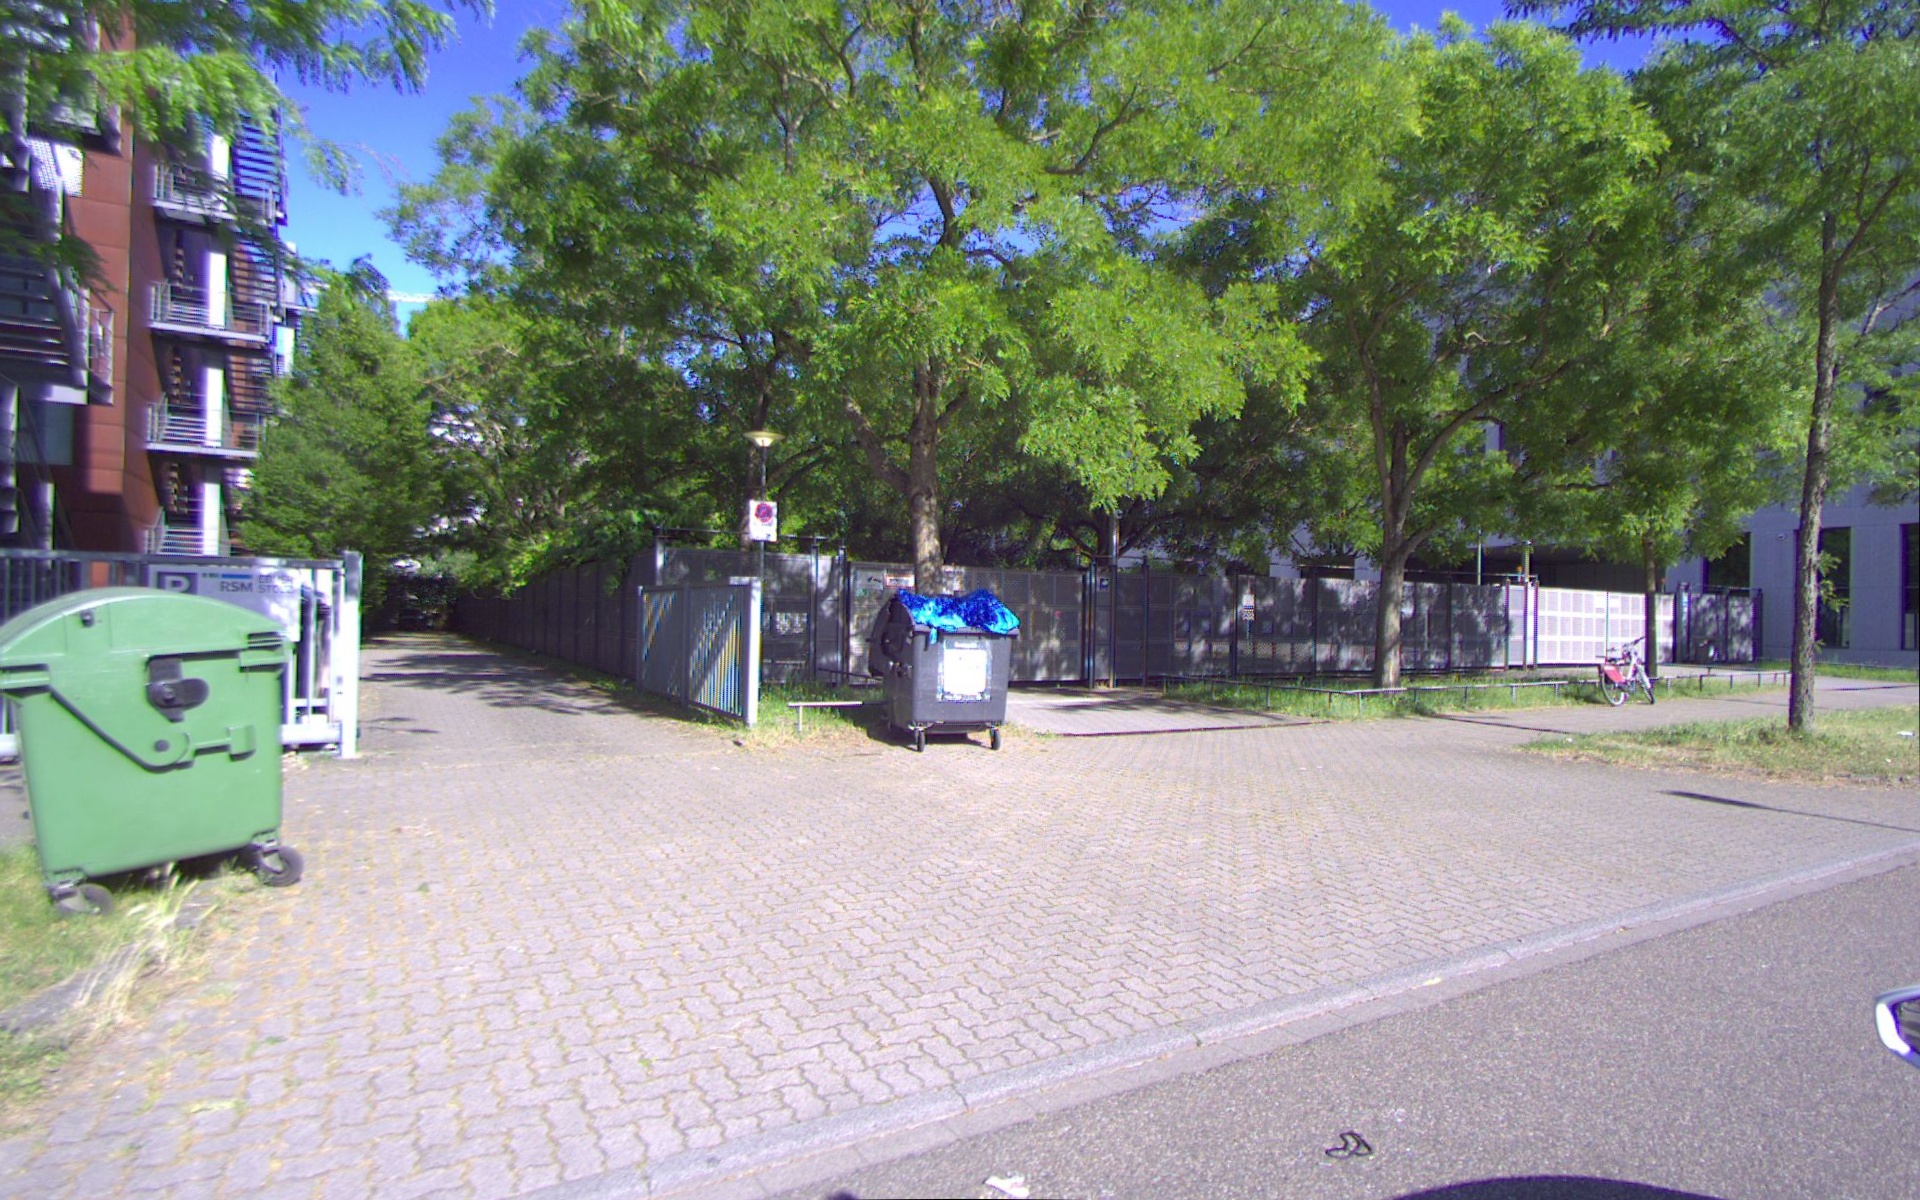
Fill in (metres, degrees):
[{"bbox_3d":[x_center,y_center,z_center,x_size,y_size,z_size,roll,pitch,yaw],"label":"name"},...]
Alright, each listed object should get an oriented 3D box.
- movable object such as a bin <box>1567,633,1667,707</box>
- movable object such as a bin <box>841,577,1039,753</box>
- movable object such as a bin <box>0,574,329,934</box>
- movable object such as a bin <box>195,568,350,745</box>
[{"bbox_3d":[11.362,1.187,17.354,1.912,1.197,0.660,1,-1,-30],"label":"movable object such as a bin"},{"bbox_3d":[-0.240,0.653,10.502,1.503,1.618,1.408,4,2,-26],"label":"movable object such as a bin"},{"bbox_3d":[-3.923,0.621,4.811,1.279,1.432,1.221,1,-1,43],"label":"movable object such as a bin"},{"bbox_3d":[-6.390,0.510,9.439,0.999,1.505,1.474,2,-2,-29],"label":"movable object such as a bin"}]
